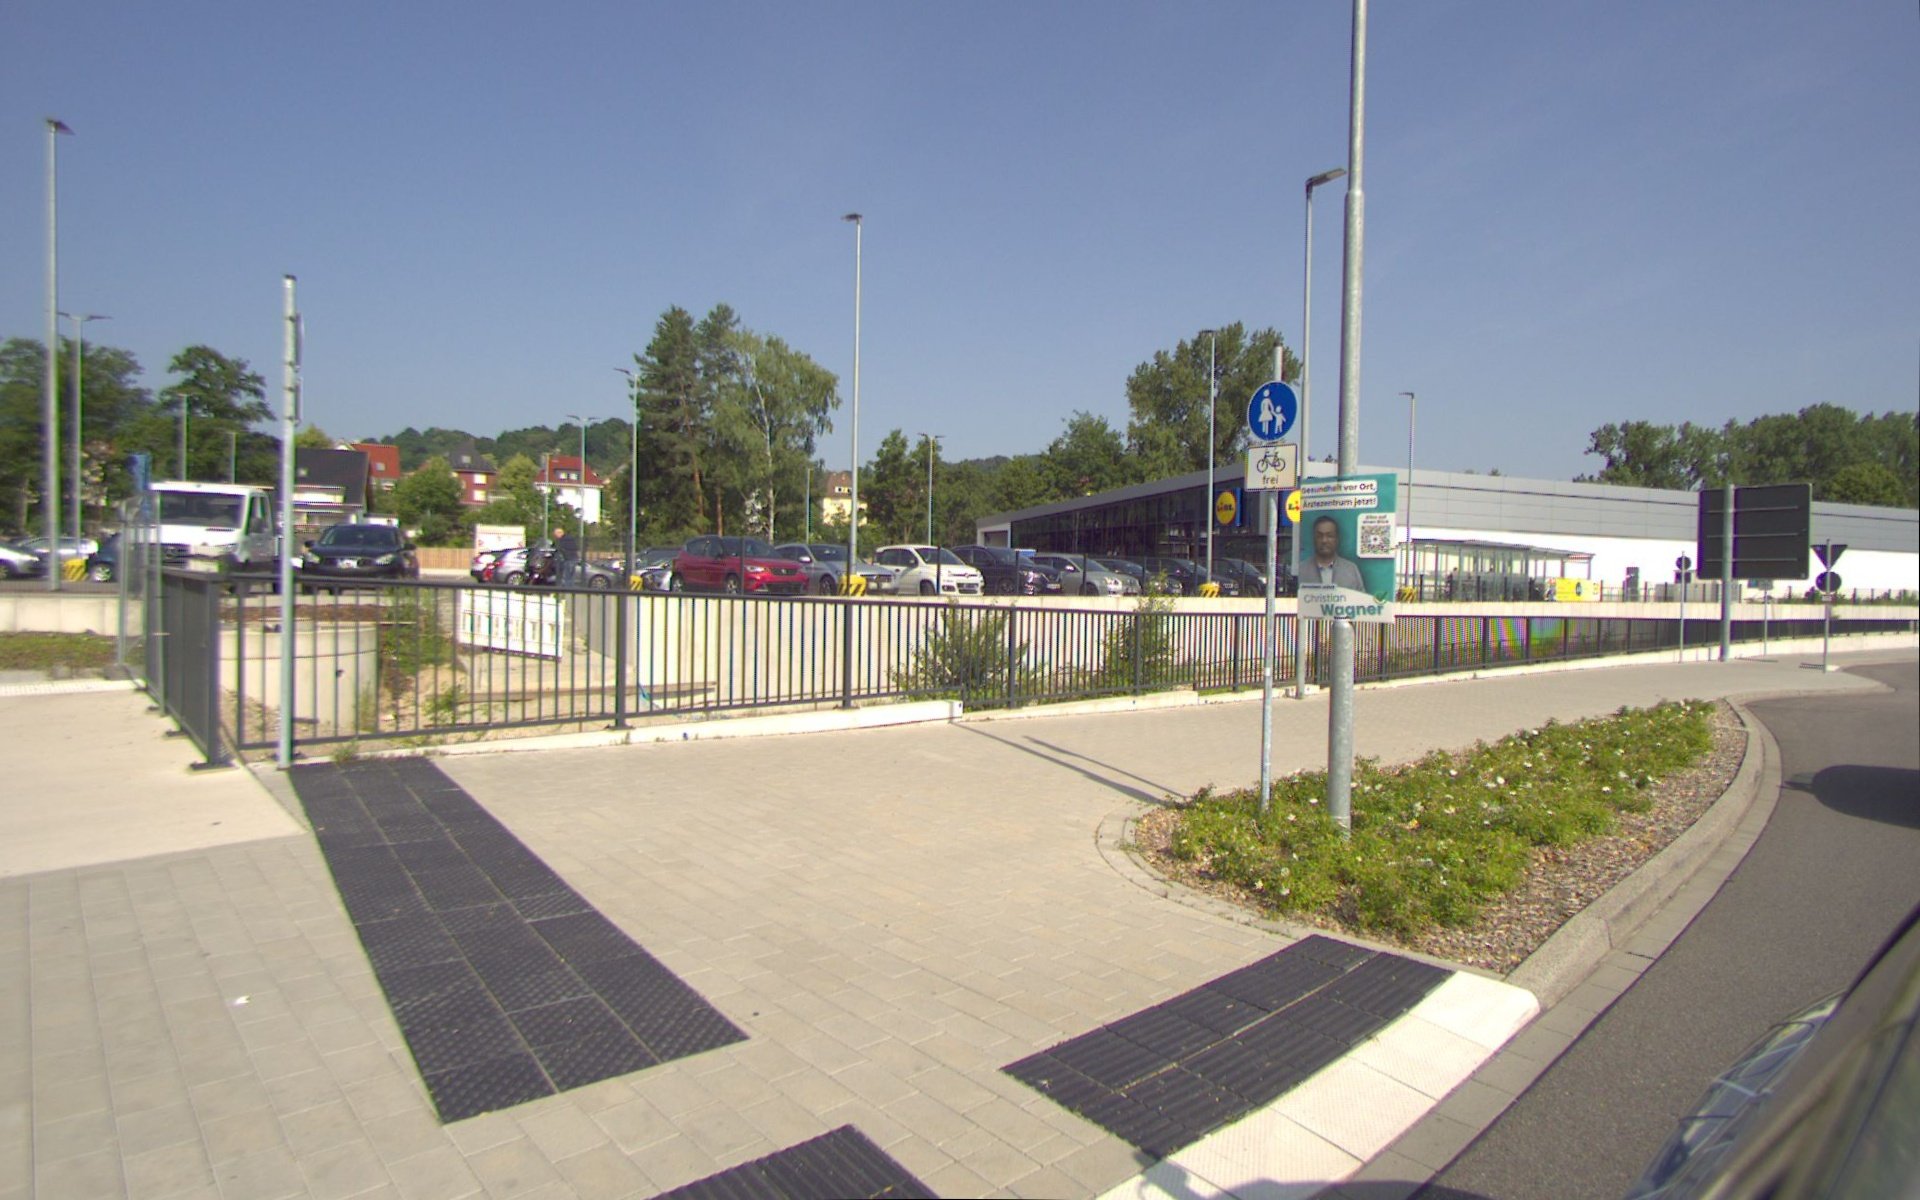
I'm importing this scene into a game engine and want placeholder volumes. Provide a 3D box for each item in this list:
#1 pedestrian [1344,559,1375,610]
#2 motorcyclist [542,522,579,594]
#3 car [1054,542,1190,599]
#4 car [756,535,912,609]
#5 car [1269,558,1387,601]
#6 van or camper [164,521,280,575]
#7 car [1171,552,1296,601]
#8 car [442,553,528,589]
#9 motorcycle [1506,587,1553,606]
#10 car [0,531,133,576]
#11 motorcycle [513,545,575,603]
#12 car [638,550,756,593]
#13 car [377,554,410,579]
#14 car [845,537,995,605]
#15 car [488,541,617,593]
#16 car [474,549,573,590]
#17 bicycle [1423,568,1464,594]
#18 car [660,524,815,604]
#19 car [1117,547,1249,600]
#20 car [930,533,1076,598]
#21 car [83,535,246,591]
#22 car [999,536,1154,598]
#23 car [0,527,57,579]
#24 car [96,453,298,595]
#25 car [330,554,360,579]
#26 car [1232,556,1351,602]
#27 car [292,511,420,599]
[{"bbox_3d":[16.220,-0.613,41.101,0.846,2.039,0.834,1,-2,-28],"label":"pedestrian"},{"bbox_3d":[-8.988,-0.935,22.797,0.509,1.563,0.577,-1,-1,25],"label":"motorcyclist"},{"bbox_3d":[4.950,-0.845,31.308,1.676,1.594,3.989,1,-1,-44],"label":"car"},{"bbox_3d":[-3.066,-0.584,24.030,1.748,1.594,4.015,1,-1,-41],"label":"car"},{"bbox_3d":[14.706,-0.771,40.587,1.676,1.594,4.121,1,-1,-44],"label":"car"},{"bbox_3d":[-43.122,-3.007,59.303,5.178,2.884,2.298,0,-1,-27],"label":"van or camper"},{"bbox_3d":[9.588,-0.782,35.725,1.676,1.594,3.989,1,-1,-44],"label":"car"},{"bbox_3d":[-23.007,-1.388,49.048,3.709,1.594,1.765,0,-1,-27],"label":"car"},{"bbox_3d":[26.681,-0.143,47.438,1.862,0.875,0.620,-1,-1,29],"label":"motorcycle"},{"bbox_3d":[-32.838,-1.685,37.149,3.557,1.464,1.528,0,-1,-26],"label":"car"},{"bbox_3d":[-9.196,-0.546,22.423,0.579,1.206,1.903,1,0,-1],"label":"motorcycle"},{"bbox_3d":[-9.807,-1.031,37.814,3.920,1.476,1.802,1,-1,-31],"label":"car"},{"bbox_3d":[-39.913,-2.332,71.251,1.729,1.594,3.788,1,-1,-33],"label":"car"},{"bbox_3d":[-1.103,-0.686,26.191,1.676,1.594,3.989,1,-1,-44],"label":"car"},{"bbox_3d":[-14.254,-1.116,35.414,3.920,1.639,2.002,1,-1,-30],"label":"car"},{"bbox_3d":[-18.256,-1.234,42.325,3.709,1.594,1.765,0,-1,-27],"label":"car"},{"bbox_3d":[21.374,-0.813,44.704,1.840,1.108,0.628,0,-1,-27],"label":"bicycle"},{"bbox_3d":[-5.099,-0.733,22.875,1.748,1.594,4.015,1,-1,-41],"label":"car"},{"bbox_3d":[7.307,-0.815,33.422,1.676,1.594,3.989,1,-1,-44],"label":"car"},{"bbox_3d":[1.122,-0.894,27.900,1.676,1.594,3.989,1,-1,-44],"label":"car"},{"bbox_3d":[-24.738,-1.118,31.646,3.709,1.594,1.765,0,-1,-27],"label":"car"},{"bbox_3d":[3.290,-0.874,29.273,1.676,1.594,4.404,1,-1,-44],"label":"car"},{"bbox_3d":[-28.931,-1.388,29.508,3.557,1.464,1.528,0,-1,-26],"label":"car"},{"bbox_3d":[-15.726,-1.375,21.286,2.018,2.414,6.101,1,-1,-24],"label":"car"},{"bbox_3d":[-43.161,-2.337,70.974,1.679,1.594,3.788,1,-1,-33],"label":"car"},{"bbox_3d":[12.511,-0.745,38.356,1.676,1.594,3.989,1,-1,-44],"label":"car"},{"bbox_3d":[-12.880,-0.871,21.824,1.795,1.623,4.484,0,-1,-24],"label":"car"}]
